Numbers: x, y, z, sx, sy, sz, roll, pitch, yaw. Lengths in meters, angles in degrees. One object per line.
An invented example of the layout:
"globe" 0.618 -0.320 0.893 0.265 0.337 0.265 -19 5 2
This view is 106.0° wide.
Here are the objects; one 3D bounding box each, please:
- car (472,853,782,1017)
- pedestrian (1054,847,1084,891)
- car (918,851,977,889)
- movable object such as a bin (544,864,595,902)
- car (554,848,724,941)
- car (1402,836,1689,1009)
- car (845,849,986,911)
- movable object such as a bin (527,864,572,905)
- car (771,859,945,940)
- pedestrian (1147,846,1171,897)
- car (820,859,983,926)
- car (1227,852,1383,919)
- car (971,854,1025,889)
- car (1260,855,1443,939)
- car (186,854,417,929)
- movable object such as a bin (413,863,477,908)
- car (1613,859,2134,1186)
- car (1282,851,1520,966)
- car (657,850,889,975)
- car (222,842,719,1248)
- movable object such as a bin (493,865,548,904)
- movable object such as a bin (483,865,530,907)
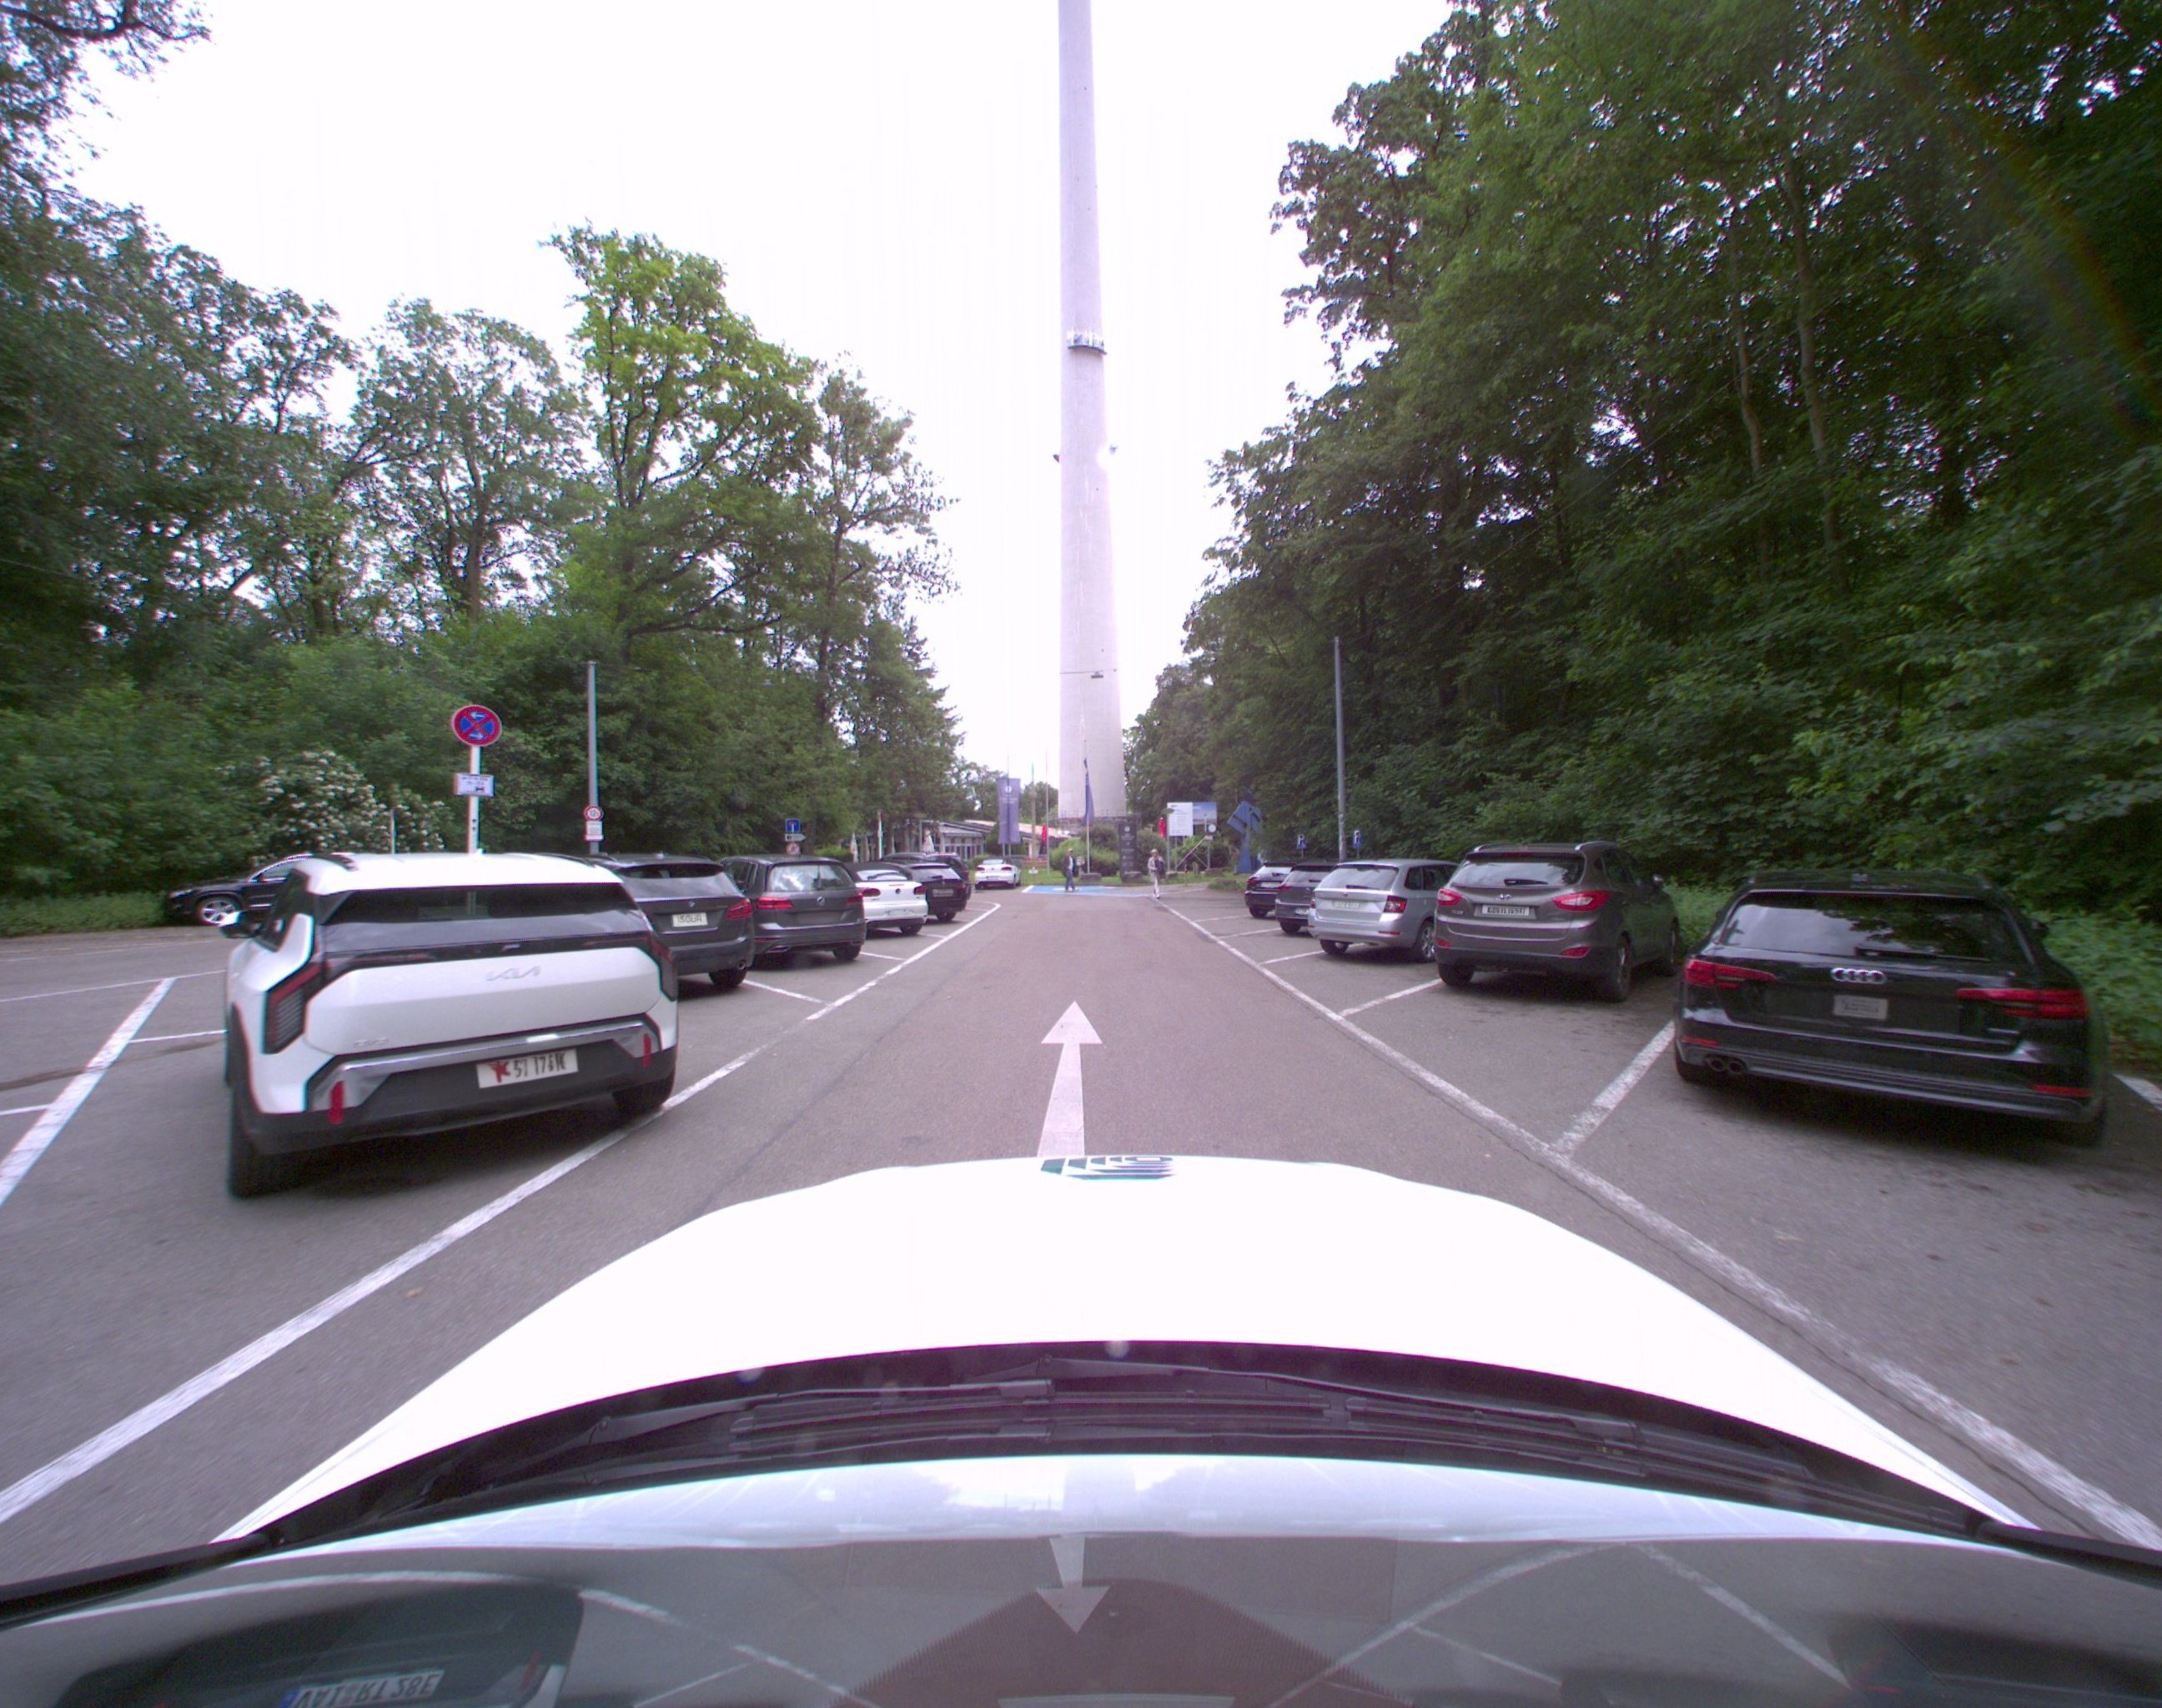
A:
"car" -5.558 0.798 9.802 3.948 1.554 1.885 -1 0 38
"pedestrian" -0.471 0.577 32.394 0.885 1.725 0.769 -1 0 34
"car" -6.075 0.692 37.400 1.886 1.585 4.002 -1 0 2
"movable object such as a bin" -18.724 1.038 29.834 1.254 1.325 1.142 -1 0 -12
"car" -9.117 0.732 16.682 3.950 1.663 1.910 -1 0 43
"car" 5.801 0.632 9.919 4.287 1.636 1.941 -1 0 -45
"car" -4.863 0.686 23.540 4.333 1.608 1.840 -1 0 44
"movable object such as a bin" -17.985 1.019 27.582 1.176 1.307 1.301 -1 0 -29
"car" -4.620 0.833 16.573 1.783 1.443 3.798 -1 0 -44
"pedestrian" 2.683 0.606 28.166 0.759 1.725 0.897 -1 0 2
"car" -4.414 0.849 19.687 4.225 1.443 1.770 -1 0 43
"car" 5.645 0.706 20.249 4.229 1.462 1.876 0 0 -44
"car" -3.651 0.756 36.519 1.886 1.428 4.002 -1 0 2
"car" 5.503 0.763 16.322 1.886 1.422 4.023 -1 0 45
"car" -19.597 0.868 20.693 4.094 1.685 1.857 -1 0 -44
"movable object such as a bin" -20.583 1.004 26.381 1.118 1.425 1.132 -1 0 4
"car" 5.401 0.763 5.827 1.941 1.377 4.288 -1 0 43
"car" 5.138 0.729 12.848 4.021 1.467 1.813 -1 1 -41
"car" -4.841 0.754 12.530 3.928 1.587 1.858 0 1 45
"car" -4.193 0.757 5.299 4.137 1.596 1.858 -1 0 43
"movable object such as a bin" -19.828 1.056 28.835 1.121 1.320 1.238 -1 0 -4
"movable object such as a bin" -19.047 1.044 27.019 1.130 1.314 1.173 -1 0 -29
